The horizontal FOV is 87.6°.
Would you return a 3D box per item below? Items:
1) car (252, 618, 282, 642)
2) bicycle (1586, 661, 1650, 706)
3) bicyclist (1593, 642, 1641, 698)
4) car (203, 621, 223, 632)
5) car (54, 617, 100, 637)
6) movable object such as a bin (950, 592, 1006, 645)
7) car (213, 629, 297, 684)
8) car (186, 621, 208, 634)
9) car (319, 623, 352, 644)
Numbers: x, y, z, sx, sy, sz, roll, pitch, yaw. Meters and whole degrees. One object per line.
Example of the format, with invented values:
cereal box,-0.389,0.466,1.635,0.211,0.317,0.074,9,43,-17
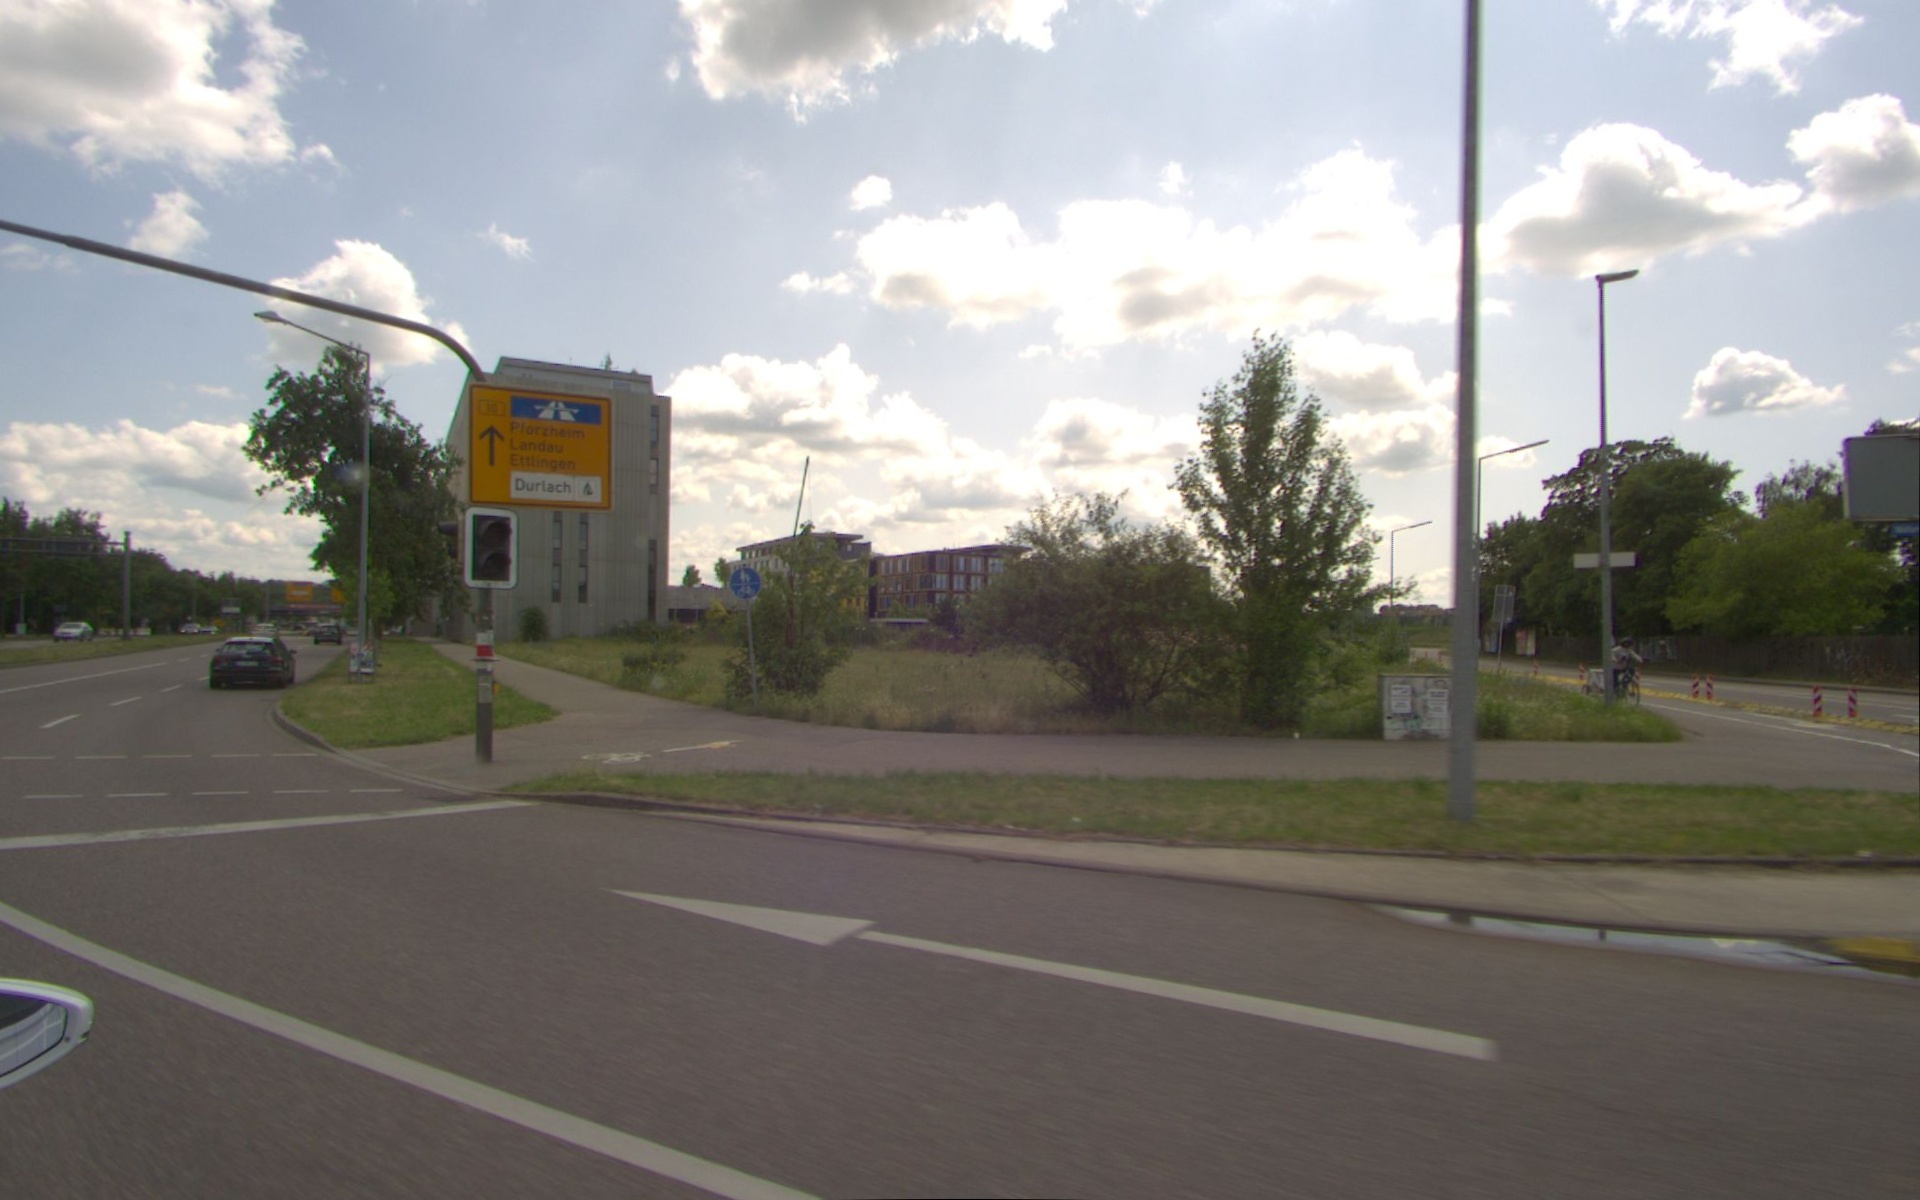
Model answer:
car,-62.613,2.698,90.462,1.974,2.038,3.977,3,-3,-32
bicycle,16.108,2.046,24.591,0.861,1.030,2.540,0,-4,23
bicyclist,16.137,1.716,24.622,0.862,1.341,0.810,0,-4,26
car,-106.440,3.773,142.708,1.722,1.565,4.551,0,-1,-29
car,-66.493,2.028,75.457,1.744,1.458,4.287,1,-2,-30
movable object such as a bin,1.571,1.608,82.330,2.992,3.899,7.620,1,-4,13
car,-20.639,1.638,29.451,1.666,1.481,3.979,3,-3,-31
car,-95.380,3.443,125.176,1.723,1.589,4.252,0,-1,-31
car,-50.779,2.713,81.454,1.971,1.646,4.290,2,-2,-28
